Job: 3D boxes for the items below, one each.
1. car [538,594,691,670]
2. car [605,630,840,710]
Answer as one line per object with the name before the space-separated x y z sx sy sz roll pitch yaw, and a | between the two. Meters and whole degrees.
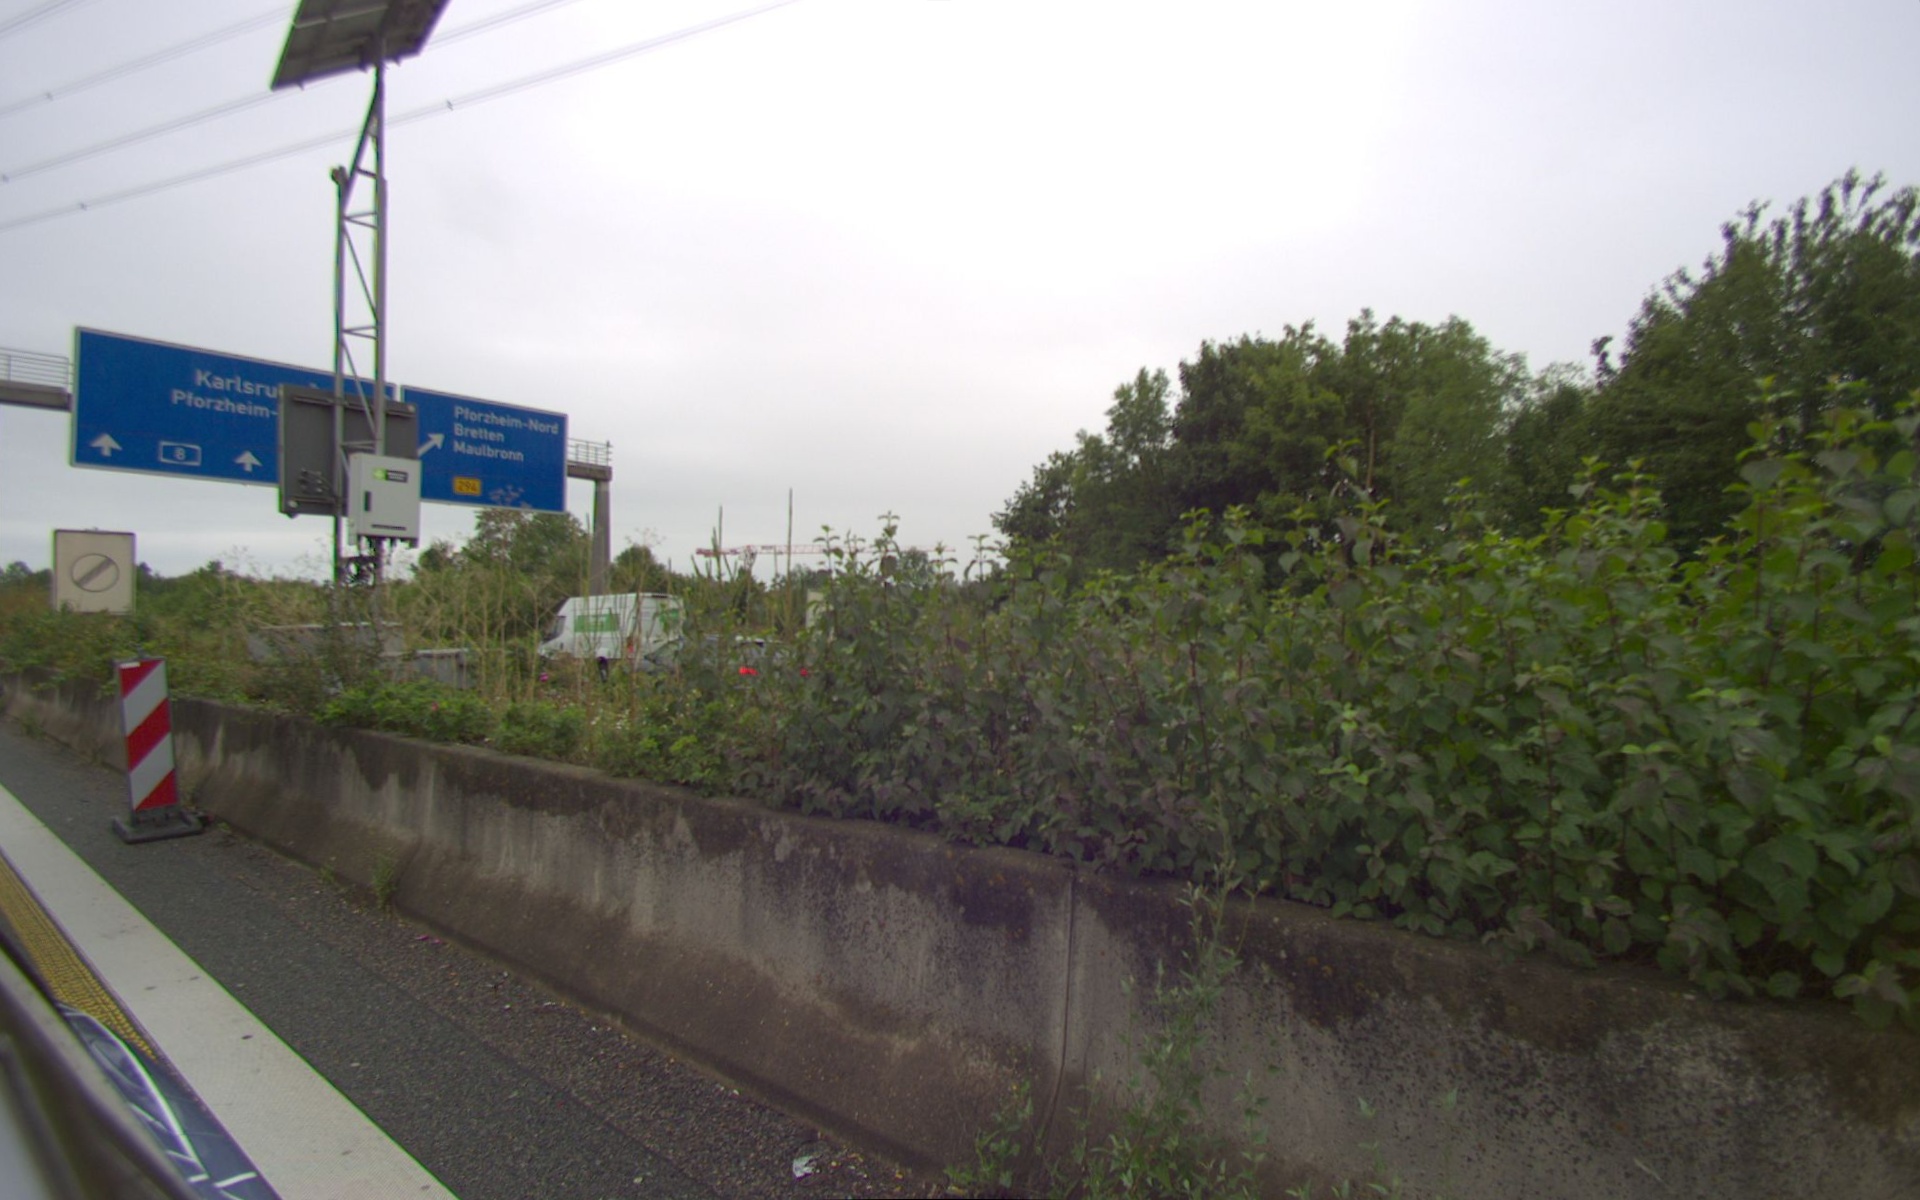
car | -10.156 0.915 29.562 5.057 2.029 1.973 -1 -1 41
car | -4.553 1.223 19.023 4.664 1.292 1.973 -1 -1 41
